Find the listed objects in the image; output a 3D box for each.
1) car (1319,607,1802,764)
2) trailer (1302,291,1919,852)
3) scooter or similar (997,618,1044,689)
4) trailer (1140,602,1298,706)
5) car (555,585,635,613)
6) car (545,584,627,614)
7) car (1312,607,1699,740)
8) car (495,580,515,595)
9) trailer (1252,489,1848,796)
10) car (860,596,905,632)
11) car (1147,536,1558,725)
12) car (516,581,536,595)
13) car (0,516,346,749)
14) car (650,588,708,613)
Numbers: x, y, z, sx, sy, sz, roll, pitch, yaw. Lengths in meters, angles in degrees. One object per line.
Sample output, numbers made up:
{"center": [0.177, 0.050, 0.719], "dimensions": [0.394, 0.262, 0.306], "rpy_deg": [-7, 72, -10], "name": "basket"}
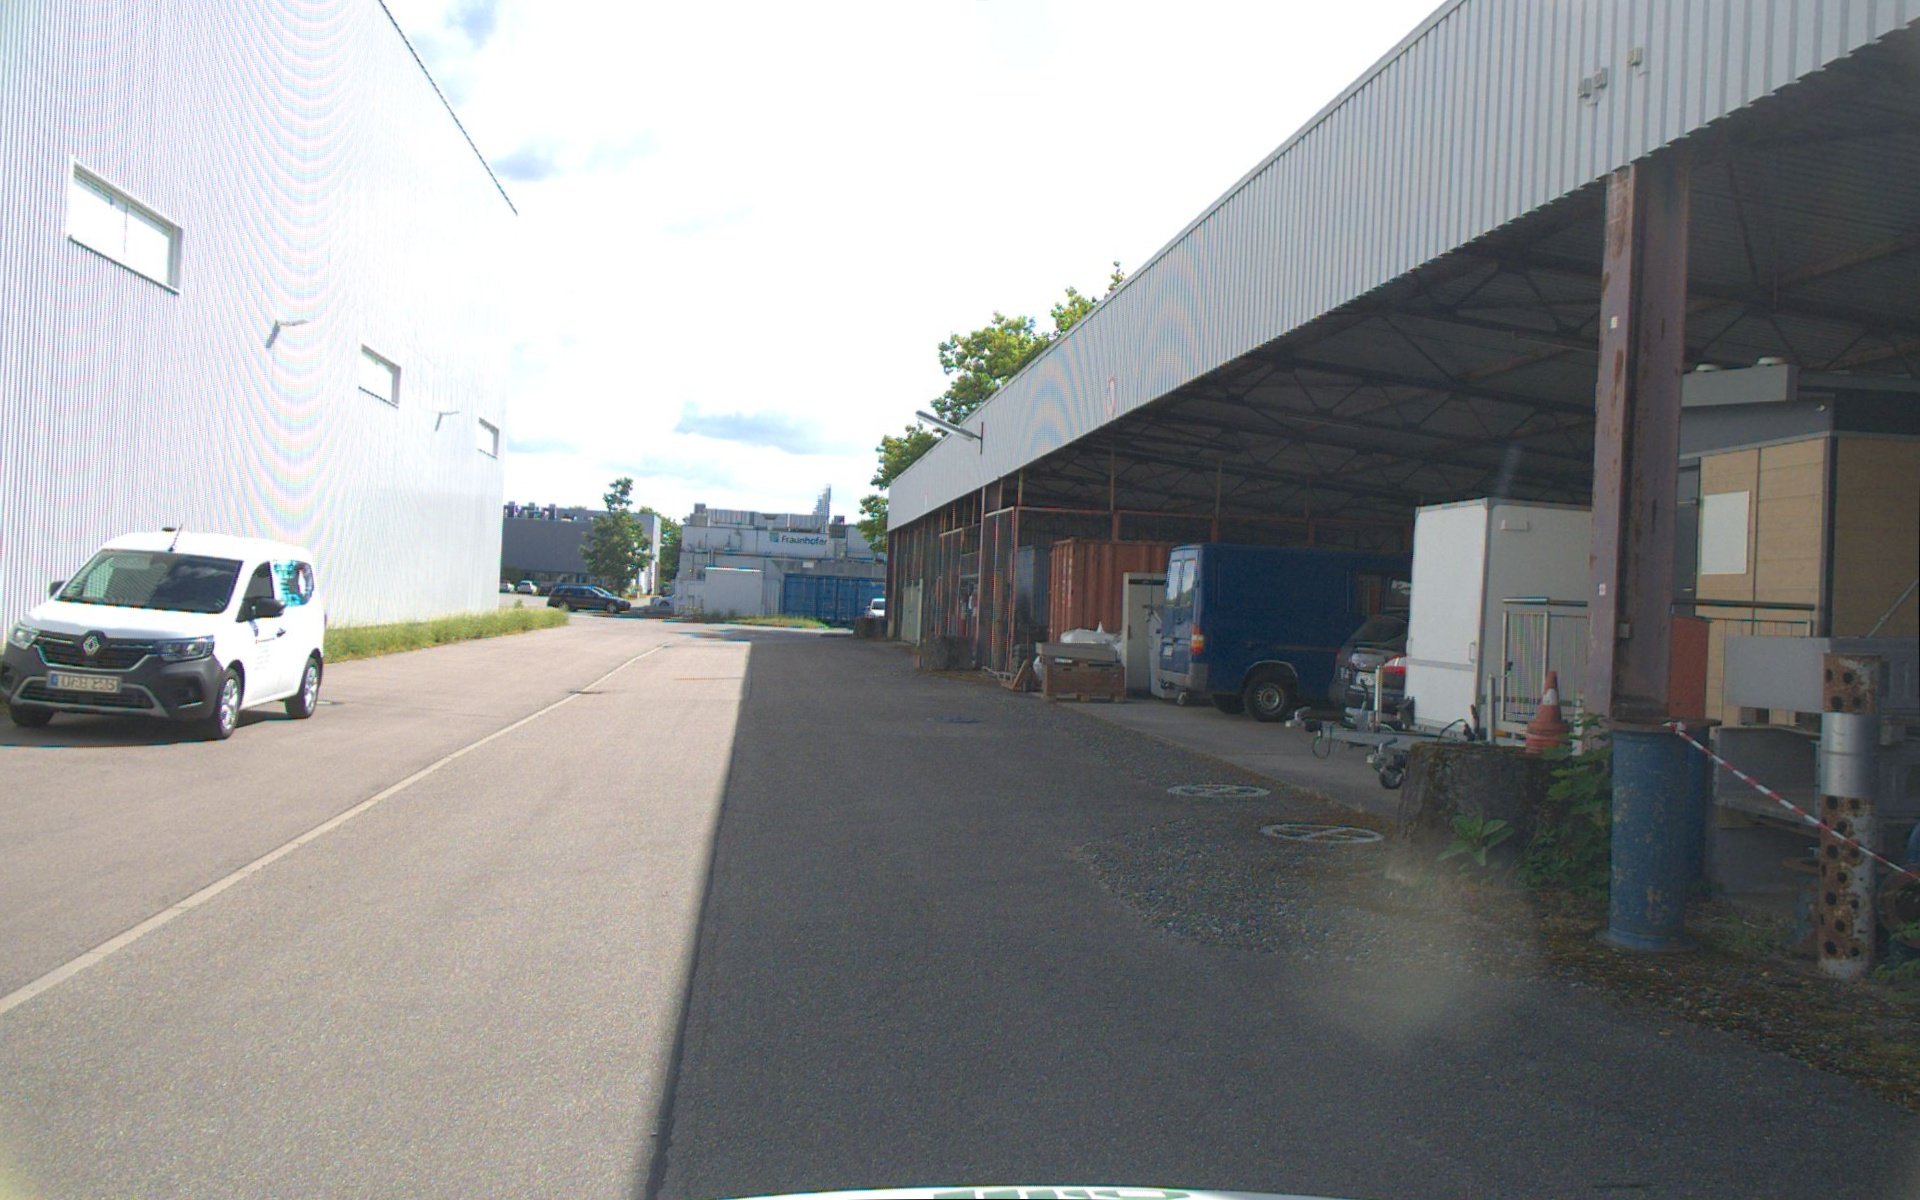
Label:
{"center": [6.013, 0.840, 16.758], "dimensions": [4.266, 1.458, 1.860], "rpy_deg": [1, 0, -11], "name": "car"}
{"center": [7.777, -0.087, 11.843], "dimensions": [10.097, 3.353, 2.671], "rpy_deg": [1, 0, -7], "name": "trailer"}
{"center": [1.015, 0.894, 28.198], "dimensions": [0.510, 1.154, 1.589], "rpy_deg": [2, -1, -8], "name": "scooter or similar"}
{"center": [3.944, 0.814, 25.402], "dimensions": [2.053, 1.488, 1.640], "rpy_deg": [2, -1, -5], "name": "trailer"}
{"center": [-22.056, -0.043, 100.075], "dimensions": [4.444, 1.468, 1.901], "rpy_deg": [3, -2, -8], "name": "car"}
{"center": [-21.876, -0.045, 96.815], "dimensions": [4.444, 1.468, 1.984], "rpy_deg": [3, -2, -8], "name": "car"}
{"center": [6.491, 0.853, 19.906], "dimensions": [4.030, 1.479, 1.847], "rpy_deg": [1, 0, -8], "name": "car"}
{"center": [-52.302, -1.424, 190.160], "dimensions": [1.843, 1.564, 4.026], "rpy_deg": [1, 0, -10], "name": "car"}
{"center": [4.889, 0.363, 13.986], "dimensions": [4.455, 2.376, 1.686], "rpy_deg": [1, 0, -7], "name": "trailer"}
{"center": [-4.082, 0.707, 86.588], "dimensions": [1.944, 1.621, 4.333], "rpy_deg": [3, 1, -8], "name": "car"}
{"center": [5.369, 0.426, 22.976], "dimensions": [5.119, 2.337, 2.080], "rpy_deg": [2, -1, -9], "name": "car"}
{"center": [-50.068, -1.383, 190.694], "dimensions": [1.843, 1.564, 4.026], "rpy_deg": [1, 0, -10], "name": "car"}
{"center": [-7.533, 0.256, 15.971], "dimensions": [1.892, 1.821, 4.590], "rpy_deg": [4, 0, -7], "name": "car"}
{"center": [-21.187, 0.040, 124.877], "dimensions": [4.198, 1.597, 1.984], "rpy_deg": [3, -2, -8], "name": "car"}
